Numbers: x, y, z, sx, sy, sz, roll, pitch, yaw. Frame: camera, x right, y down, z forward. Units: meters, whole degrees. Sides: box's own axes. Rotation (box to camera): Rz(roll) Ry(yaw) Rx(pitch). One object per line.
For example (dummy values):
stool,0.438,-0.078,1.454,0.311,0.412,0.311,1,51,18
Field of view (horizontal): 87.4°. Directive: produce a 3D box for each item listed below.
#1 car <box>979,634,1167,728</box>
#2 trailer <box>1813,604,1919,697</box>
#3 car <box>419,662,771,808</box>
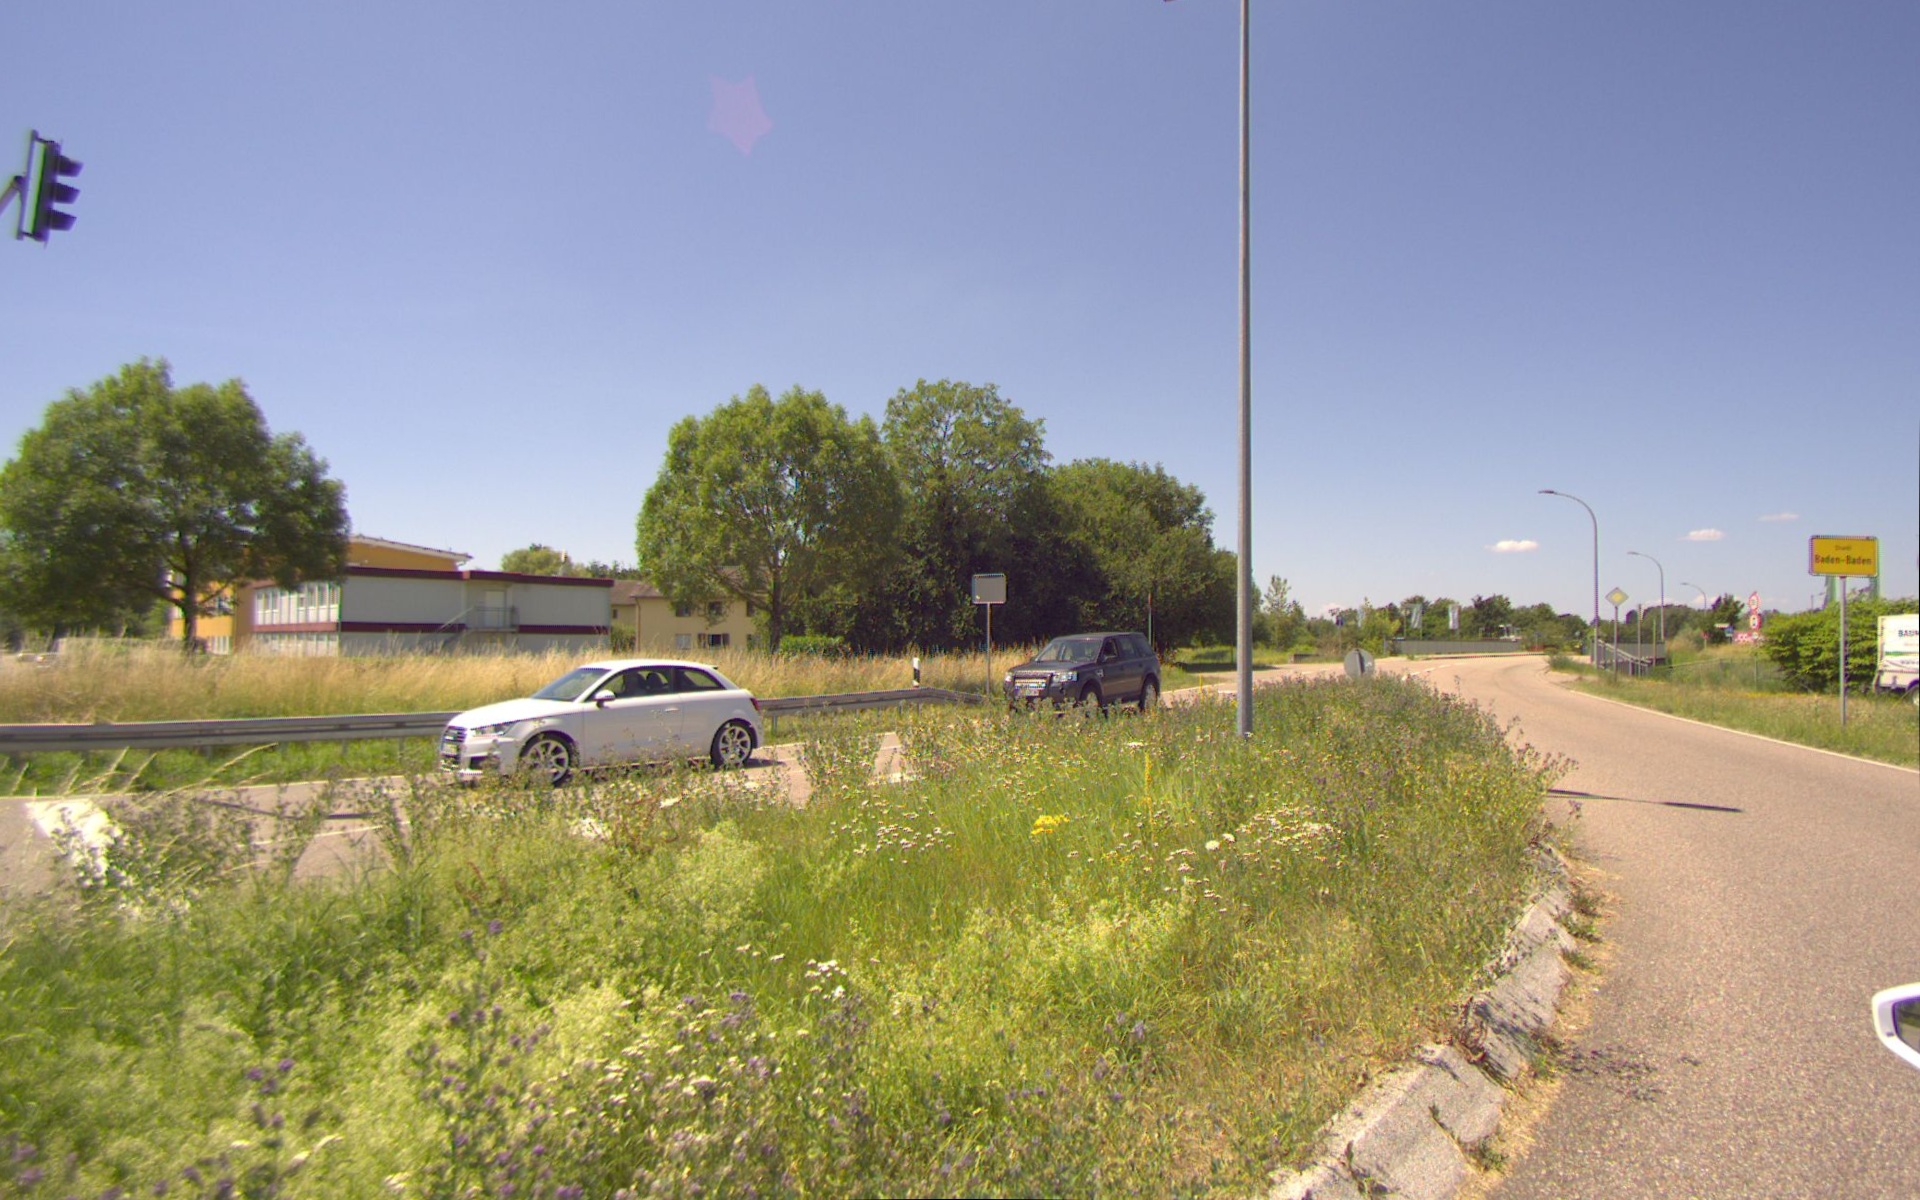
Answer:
car,2.504,1.640,21.225,1.968,1.744,4.468,-4,-4,36
trailer,22.486,1.179,23.394,1.815,2.105,3.970,1,-2,0
car,-4.457,1.552,12.659,1.709,1.428,3.836,-2,-2,44
